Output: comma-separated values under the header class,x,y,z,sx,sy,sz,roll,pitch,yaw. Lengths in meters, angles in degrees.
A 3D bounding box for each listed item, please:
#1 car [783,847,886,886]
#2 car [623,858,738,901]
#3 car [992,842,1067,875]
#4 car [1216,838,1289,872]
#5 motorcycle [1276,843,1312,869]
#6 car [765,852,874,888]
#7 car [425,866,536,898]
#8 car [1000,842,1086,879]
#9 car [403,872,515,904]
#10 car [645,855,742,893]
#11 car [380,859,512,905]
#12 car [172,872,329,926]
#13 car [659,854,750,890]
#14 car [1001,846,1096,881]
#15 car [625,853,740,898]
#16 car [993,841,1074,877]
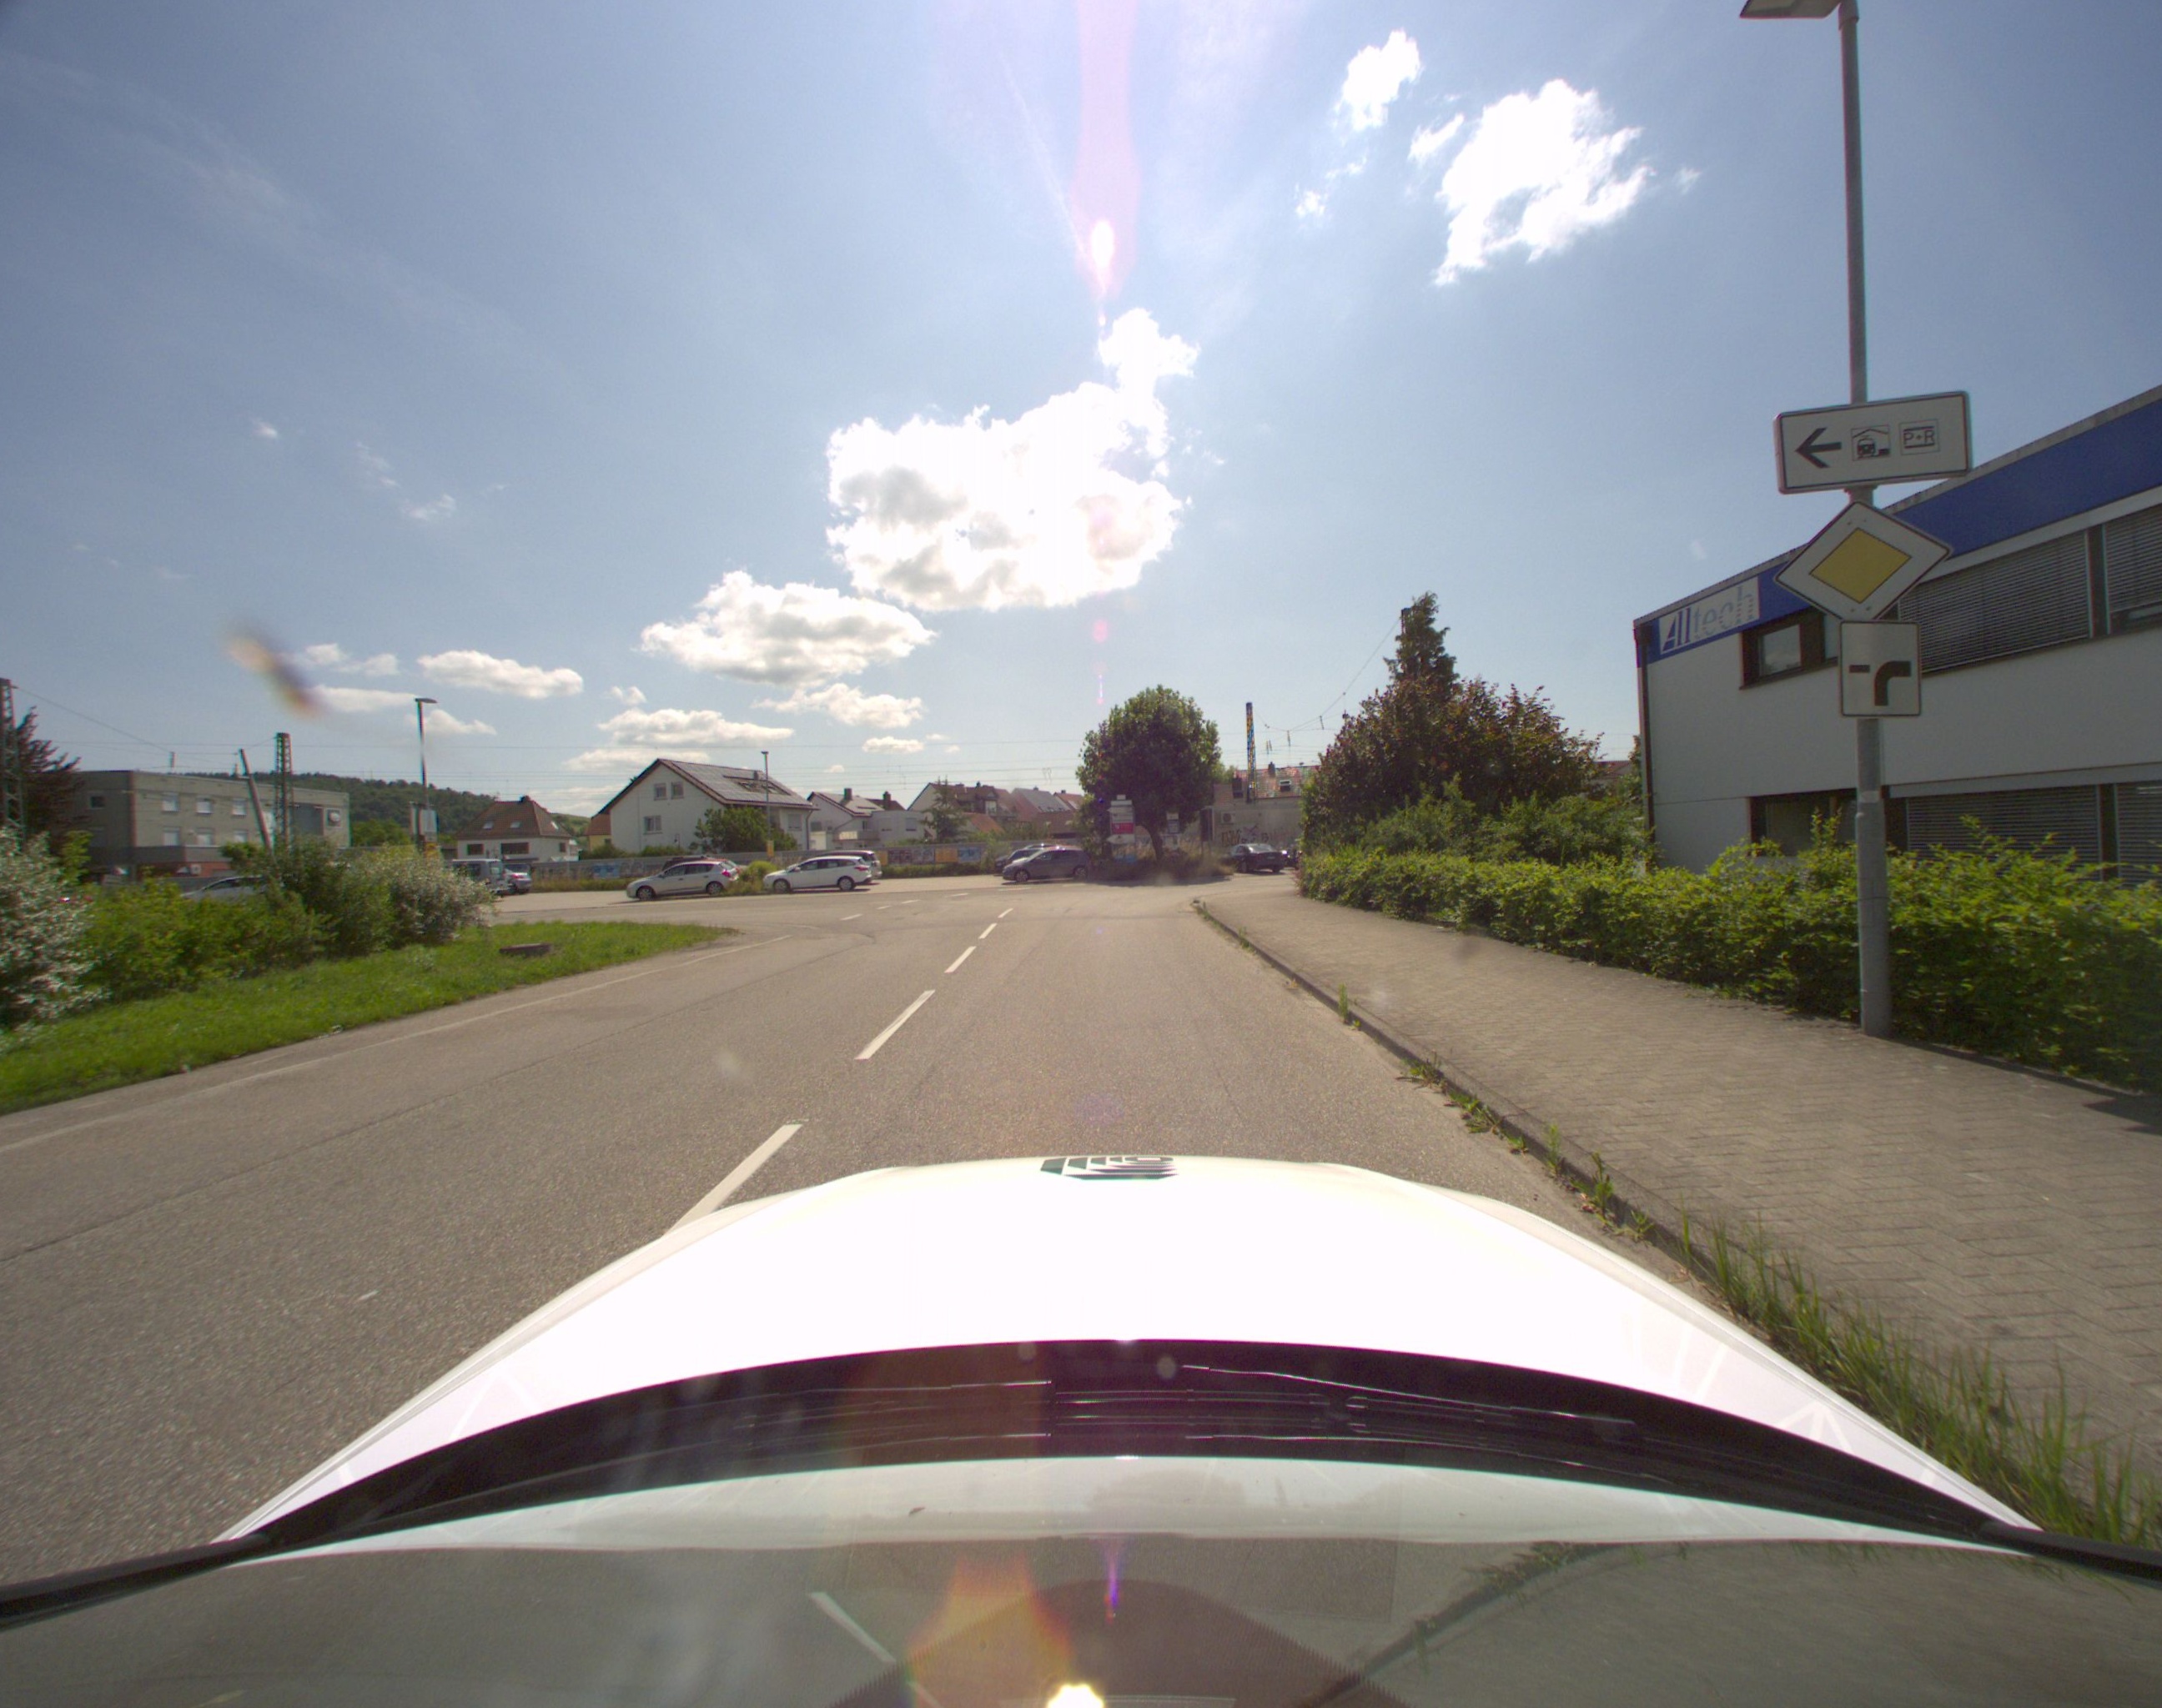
class,x,y,z,sx,sy,sz,roll,pitch,yaw
car,-11.983,0.601,39.895,4.447,1.690,1.996,-2,1,-7
car,-16.772,1.032,34.287,4.009,1.562,1.812,-2,0,-16
car,-2.832,0.223,44.331,3.984,1.730,1.765,0,0,-8
car,8.325,0.013,39.900,1.757,1.385,3.977,-1,4,-18
motorcycle,10.661,0.082,40.815,0.898,1.228,1.987,-2,2,-14
car,-11.239,0.667,35.267,4.283,1.477,1.821,0,0,-10
car,-28.994,1.331,39.415,3.983,1.420,1.680,0,0,-7
car,-1.882,0.296,39.437,3.984,1.586,1.775,-2,0,-8
car,-28.424,1.525,37.296,3.657,1.222,1.669,-3,0,-8
car,-18.413,0.933,38.849,3.785,1.558,1.688,-3,0,-12
car,-27.173,1.184,34.973,3.987,1.815,1.899,0,1,-10
car,-34.286,1.827,33.758,3.993,1.891,1.990,-3,0,-14
car,-18.814,0.860,40.812,3.836,1.589,1.490,-3,0,-14
car,-1.525,0.416,36.966,4.183,1.463,1.661,-2,0,-7
car,-17.619,0.942,36.235,4.168,1.638,1.945,-4,1,-15
car,-2.485,0.243,41.950,3.984,1.657,1.995,-3,0,-8
